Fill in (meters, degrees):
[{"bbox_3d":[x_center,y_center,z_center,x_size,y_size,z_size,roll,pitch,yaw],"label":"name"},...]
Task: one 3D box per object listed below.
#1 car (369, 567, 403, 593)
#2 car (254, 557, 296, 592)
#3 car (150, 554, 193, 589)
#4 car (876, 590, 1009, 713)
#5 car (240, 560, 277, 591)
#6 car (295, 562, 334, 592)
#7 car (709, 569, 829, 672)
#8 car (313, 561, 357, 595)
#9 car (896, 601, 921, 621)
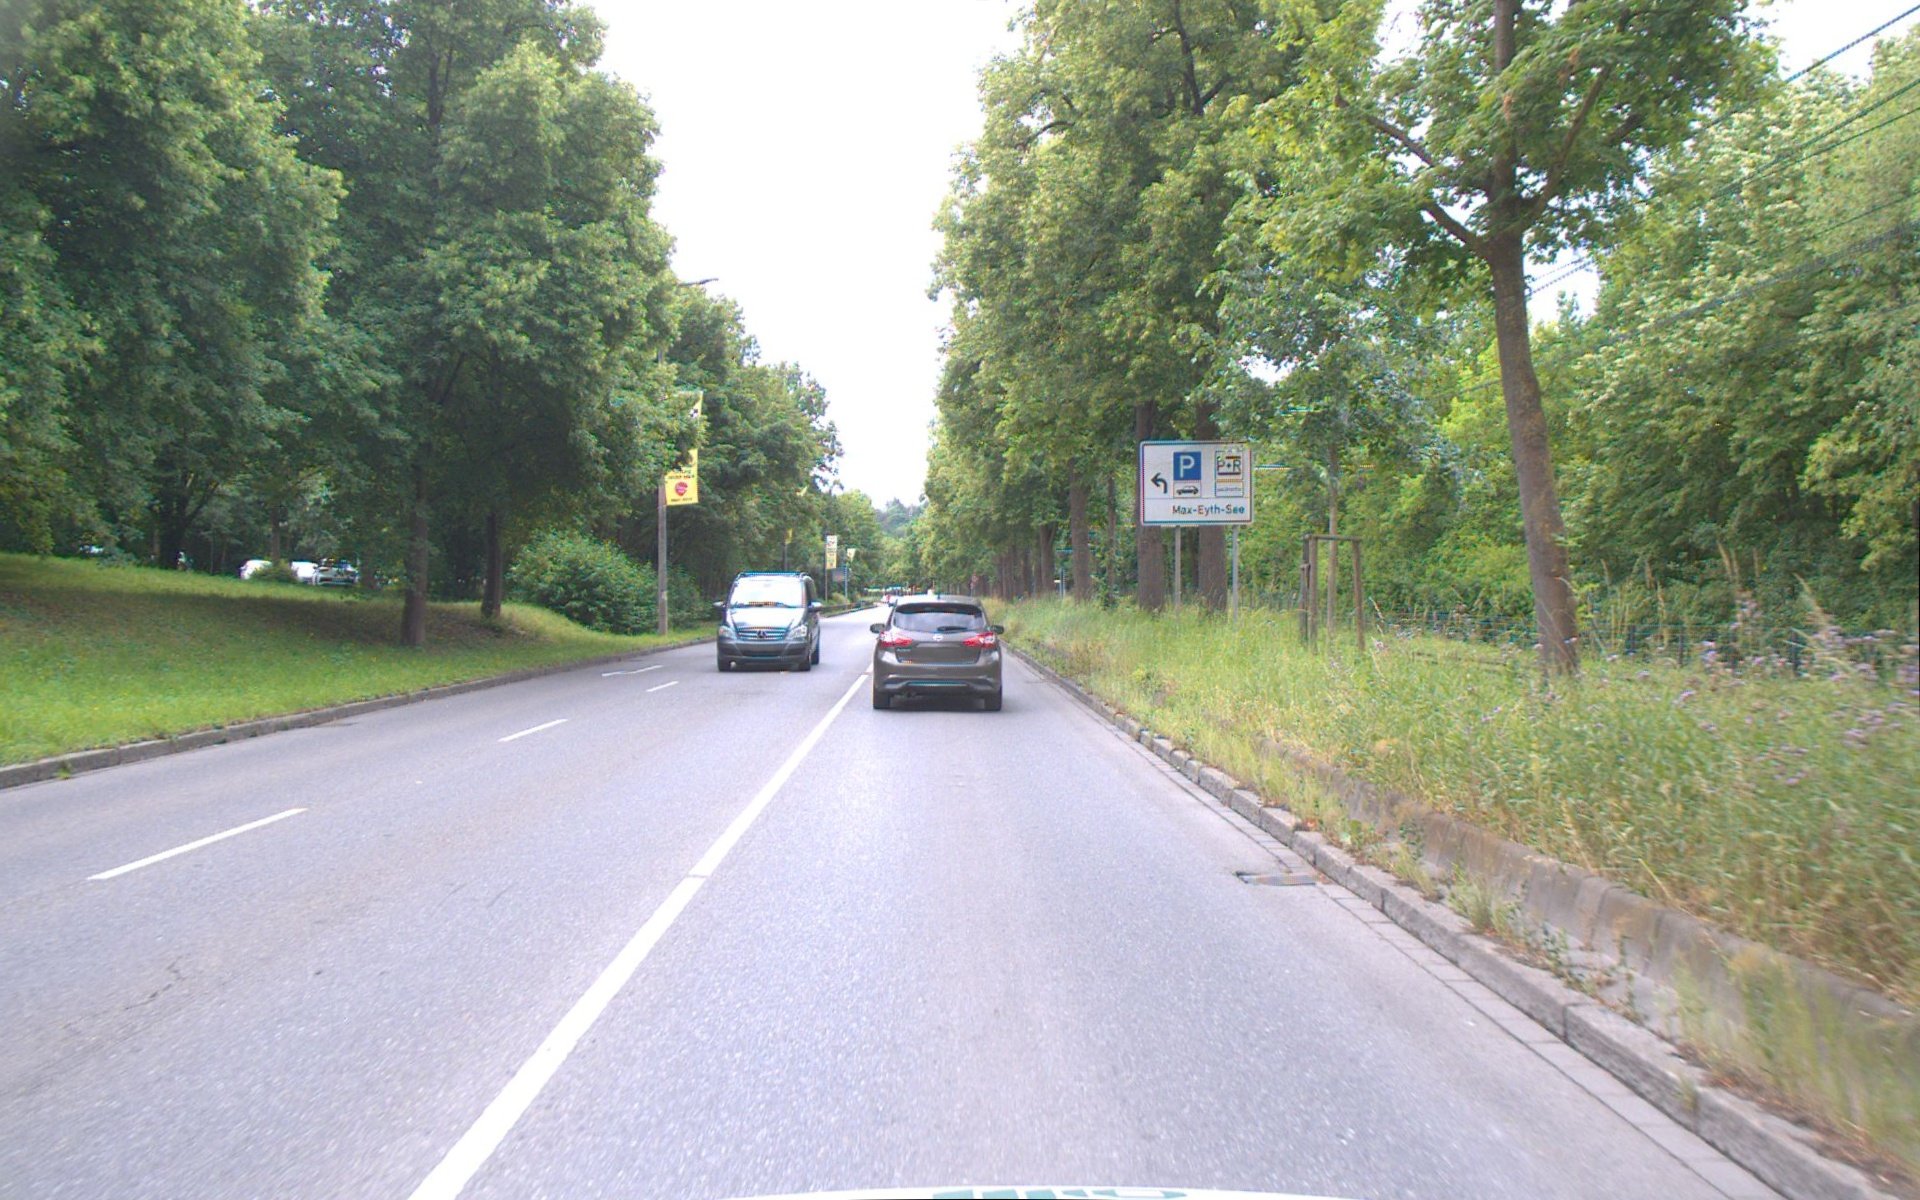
[{"bbox_3d":[-35.998,-1.238,103.608,1.625,1.512,3.969,1,0,-25],"label":"car"},{"bbox_3d":[-31.906,-1.174,76.990,1.625,1.512,3.969,1,0,-25],"label":"car"},{"bbox_3d":[-35.133,-1.250,73.743,1.625,1.512,3.969,1,0,-25],"label":"car"},{"bbox_3d":[-0.275,0.667,23.156,1.695,1.564,3.550,1,0,-2],"label":"car"},{"bbox_3d":[-36.472,-1.267,85.957,1.625,1.512,3.969,1,0,-25],"label":"car"},{"bbox_3d":[-33.978,-1.210,87.017,1.625,1.512,3.969,1,0,-25],"label":"car"},{"bbox_3d":[-3.915,0.403,34.718,1.953,1.990,5.183,0,0,-1],"label":"car"},{"bbox_3d":[-29.328,-1.024,77.556,1.625,1.512,3.969,1,0,-25],"label":"car"},{"bbox_3d":[-3.810,0.810,123.337,1.529,1.466,3.553,1,0,3],"label":"car"}]
